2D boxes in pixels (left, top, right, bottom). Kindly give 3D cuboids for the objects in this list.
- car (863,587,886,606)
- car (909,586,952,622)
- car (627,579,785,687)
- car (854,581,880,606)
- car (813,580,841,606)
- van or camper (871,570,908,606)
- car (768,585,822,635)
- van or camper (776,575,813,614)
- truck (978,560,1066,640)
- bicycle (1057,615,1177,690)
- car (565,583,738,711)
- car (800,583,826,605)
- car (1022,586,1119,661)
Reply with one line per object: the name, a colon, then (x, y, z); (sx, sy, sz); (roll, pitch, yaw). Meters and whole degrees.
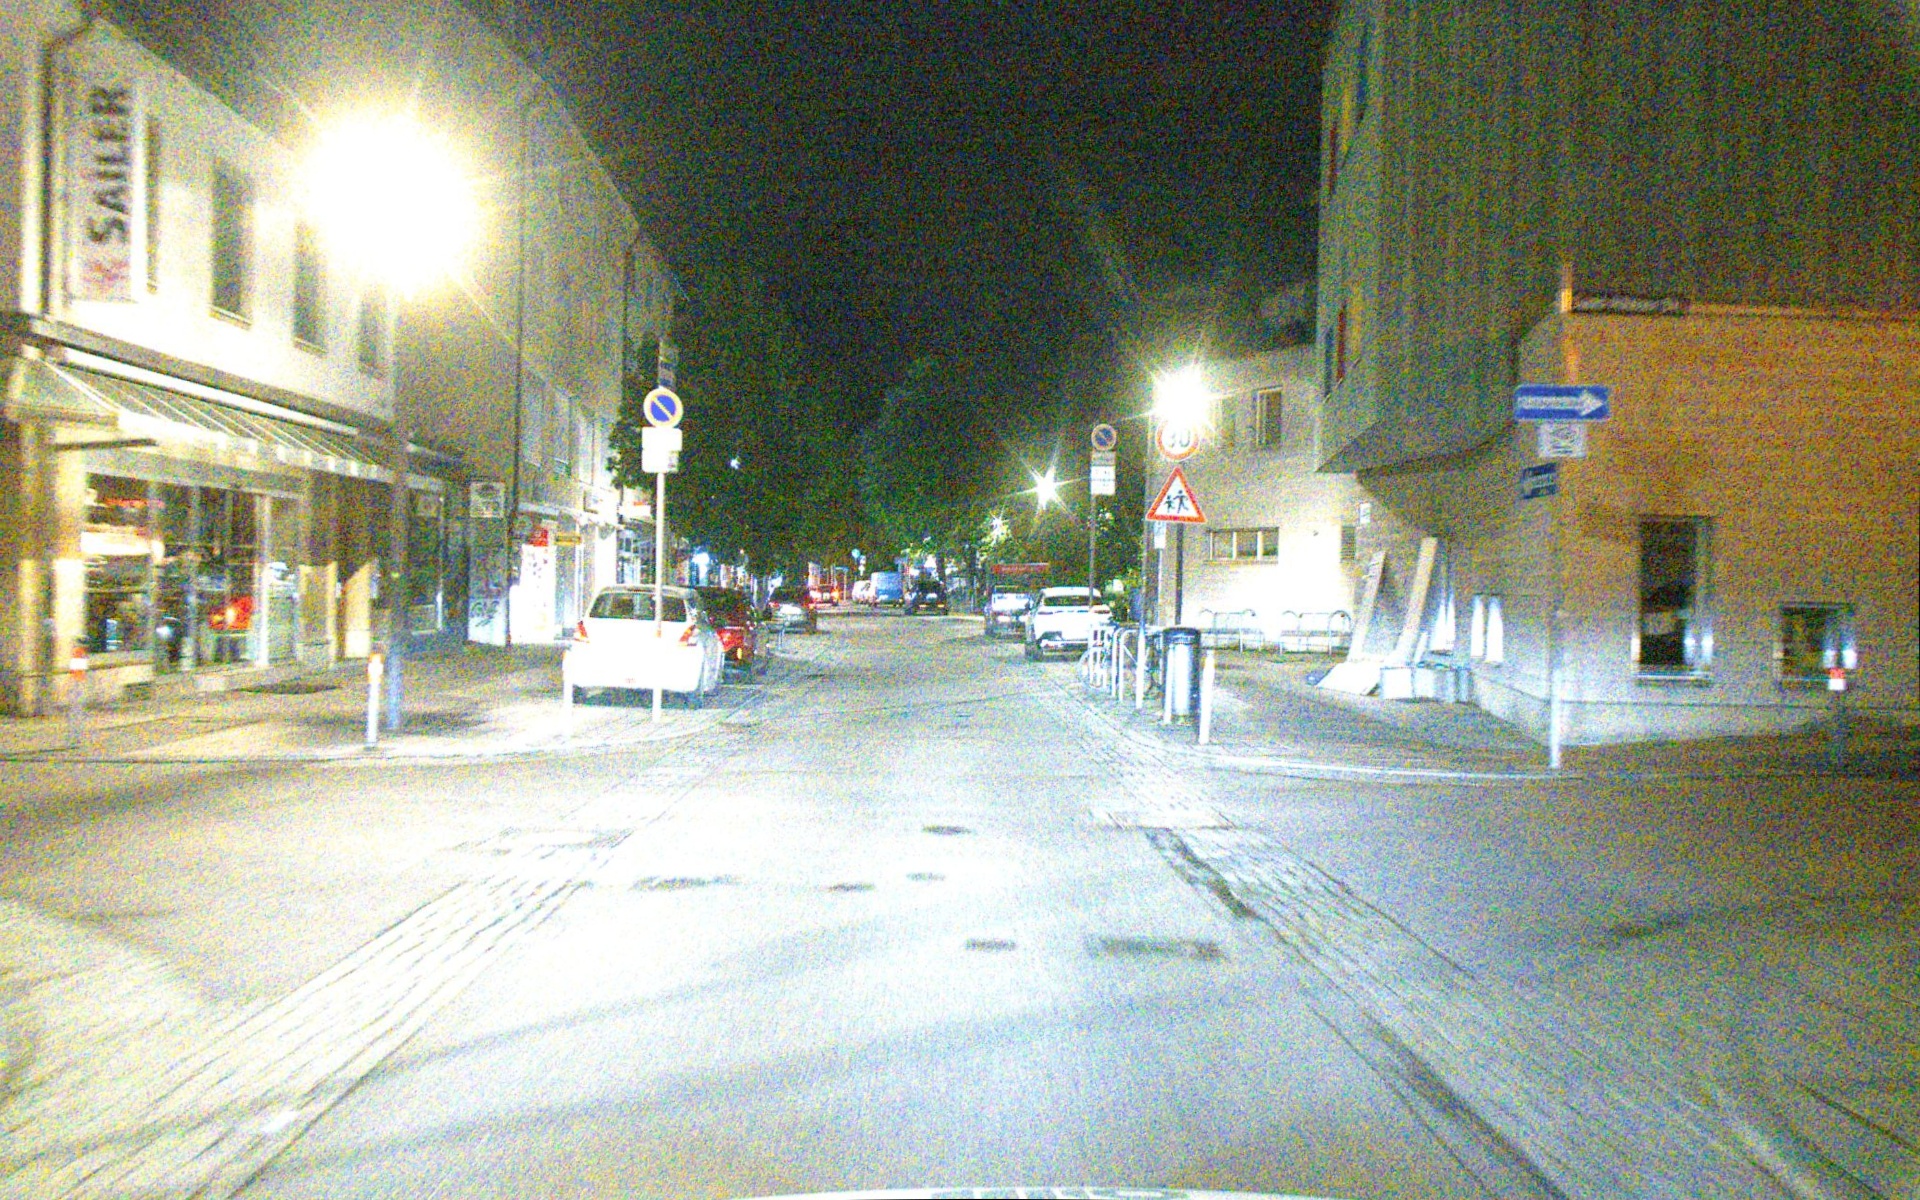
car: (-6.502, -0.266, 125.547); (1.502, 1.443, 3.840); (0, 0, -7)
car: (-1.579, 0.195, 86.828); (1.781, 1.860, 4.339); (0, 0, -8)
car: (-4.121, 0.497, 27.633); (1.979, 1.514, 5.005); (3, 0, -2)
car: (-7.380, -0.498, 131.298); (1.804, 1.934, 3.840); (0, 0, -7)
car: (-9.681, -0.500, 120.220); (1.955, 1.855, 3.994); (1, 0, -6)
van or camper: (-4.860, -0.797, 112.757); (2.069, 2.357, 4.254); (-1, 0, -9)
car: (-5.590, 0.311, 55.568); (1.642, 1.570, 4.223); (2, 0, -8)
van or camper: (-9.339, -0.322, 93.171); (1.832, 2.046, 4.254); (2, 0, -9)
truck: (1.836, -0.020, 51.316); (2.289, 2.352, 5.778); (0, 0, -2)
bicycle: (2.314, 0.774, 24.429); (1.720, 1.081, 0.346); (0, 0, -5)
car: (-3.996, 0.565, 21.968); (1.694, 1.502, 3.845); (2, 0, -3)
car: (-11.939, -0.472, 133.949); (1.955, 1.732, 3.994); (1, 0, -7)
car: (2.352, 0.470, 35.986); (1.753, 1.517, 4.058); (-1, 0, -1)
